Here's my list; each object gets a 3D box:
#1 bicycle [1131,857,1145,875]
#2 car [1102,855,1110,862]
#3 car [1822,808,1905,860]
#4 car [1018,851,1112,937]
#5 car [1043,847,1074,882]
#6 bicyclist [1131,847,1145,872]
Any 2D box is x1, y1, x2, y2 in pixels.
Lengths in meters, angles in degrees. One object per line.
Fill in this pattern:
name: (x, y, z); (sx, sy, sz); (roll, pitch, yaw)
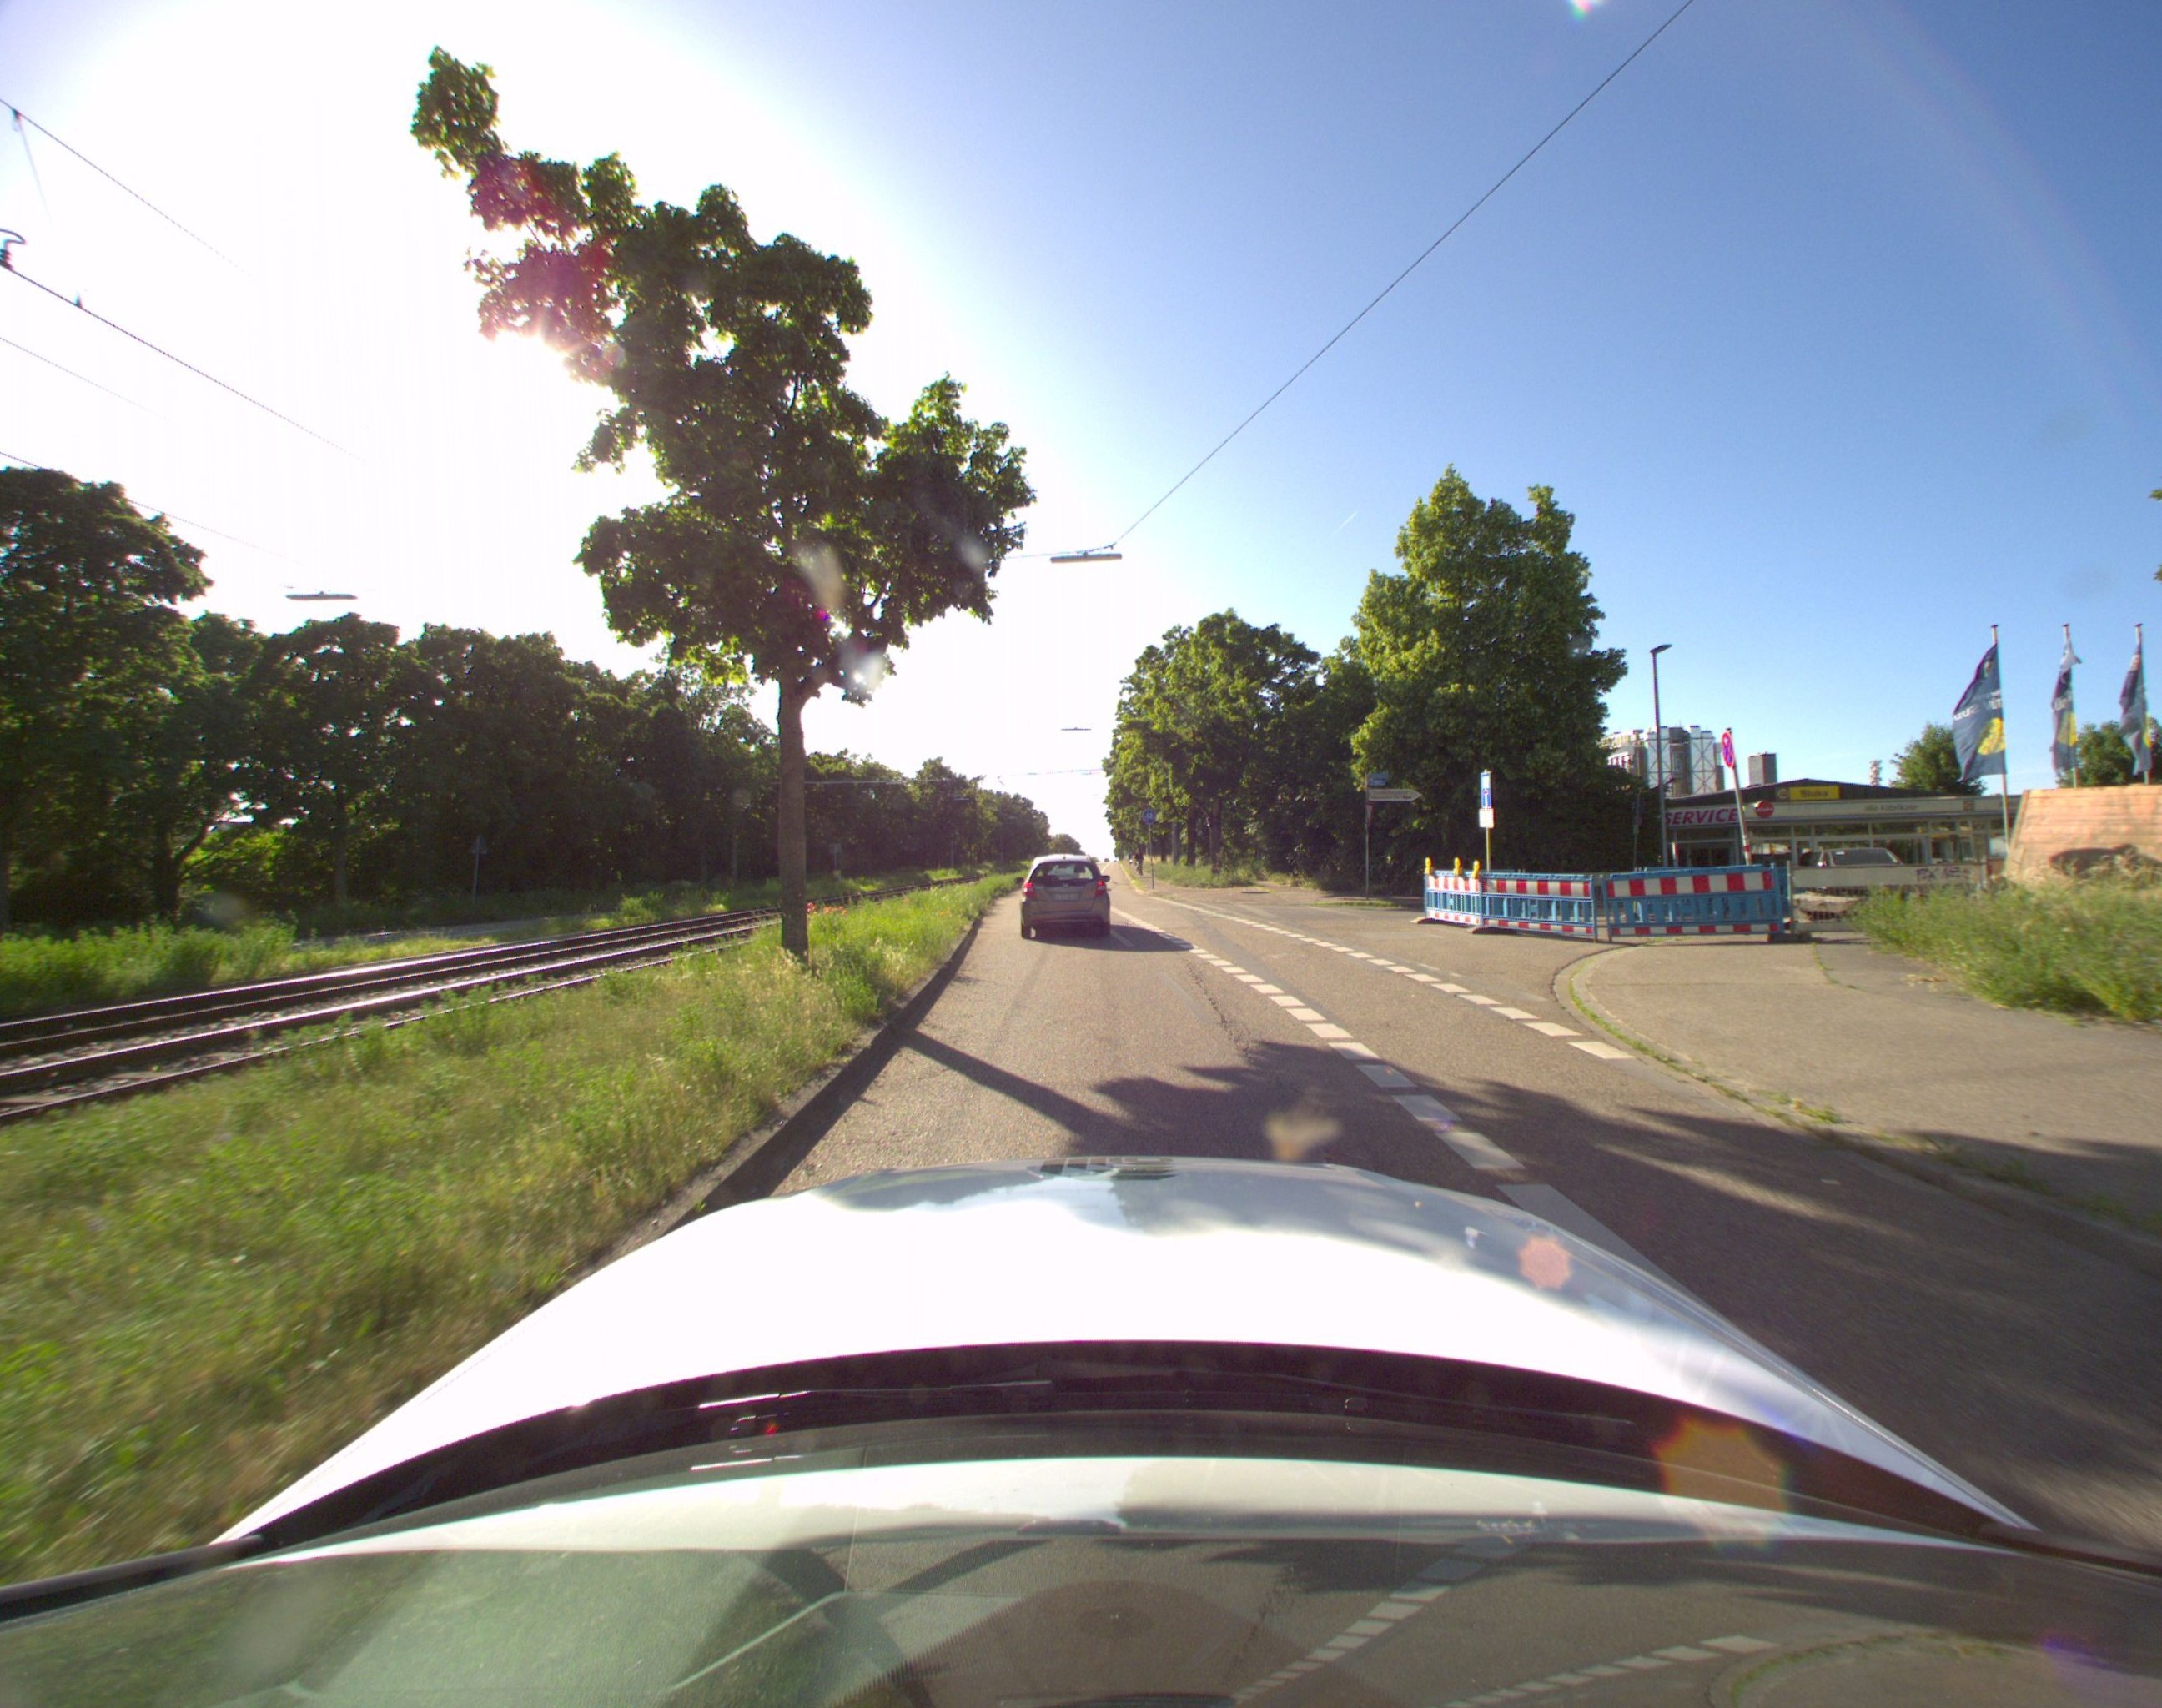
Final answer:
bicycle: (3.521, 0.776, 50.357); (0.814, 1.048, 2.508); (-1, -2, 4)
car: (7.812, 1.416, 255.674); (1.985, 2.013, 4.003); (-6, -1, 3)
car: (26.888, -0.655, 28.096); (1.666, 1.663, 3.796); (-1, -1, 38)
car: (-0.327, 0.714, 16.326); (1.666, 1.515, 3.671); (0, 0, -2)
car: (-1.044, 0.508, 38.197); (1.348, 1.528, 3.121); (-2, -1, -2)
bicyclist: (3.527, 0.373, 50.390); (0.814, 1.524, 0.967); (-1, -2, 3)
